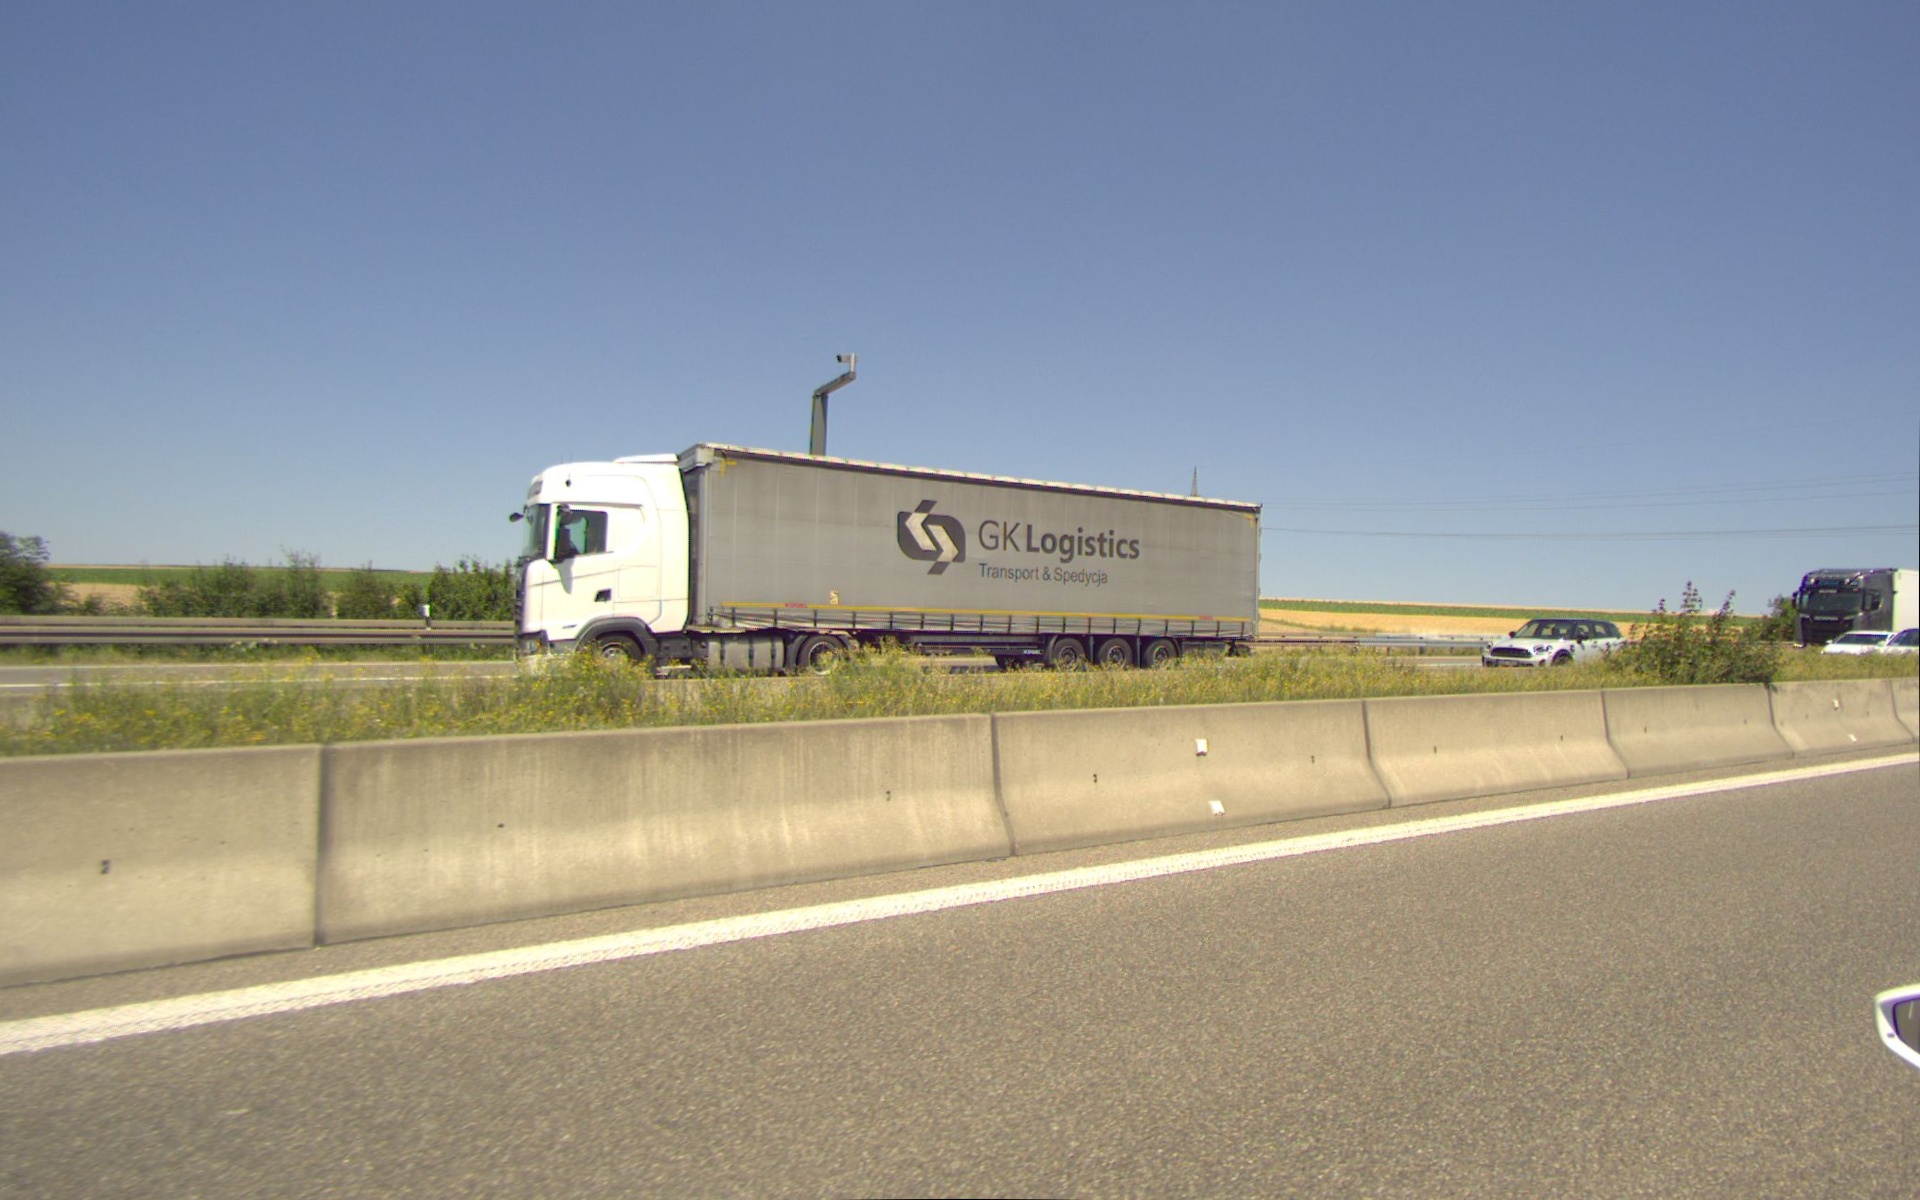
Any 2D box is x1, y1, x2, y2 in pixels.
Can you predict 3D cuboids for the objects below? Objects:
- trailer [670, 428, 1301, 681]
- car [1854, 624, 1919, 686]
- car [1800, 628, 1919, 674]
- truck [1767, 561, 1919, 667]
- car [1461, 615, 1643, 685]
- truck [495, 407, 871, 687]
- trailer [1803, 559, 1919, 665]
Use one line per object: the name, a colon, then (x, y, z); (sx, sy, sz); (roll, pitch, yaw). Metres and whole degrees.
trailer: (1.243, -0.594, 22.274); (14.367, 4.382, 3.110); (2, 0, -29)
car: (27.361, 1.531, 28.333); (4.534, 1.592, 1.871); (1, 0, -30)
car: (31.373, 1.762, 34.946); (4.519, 1.476, 1.857); (2, 0, -30)
truck: (38.647, 0.639, 43.604); (7.039, 4.262, 3.213); (1, 0, -29)
car: (15.040, 1.241, 25.473); (4.534, 1.608, 1.984); (2, -1, -30)
truck: (-5.105, -0.758, 18.599); (6.073, 4.385, 3.118); (2, 0, -29)
trailer: (44.621, 0.651, 46.931); (13.856, 4.446, 3.228); (1, 0, -29)
